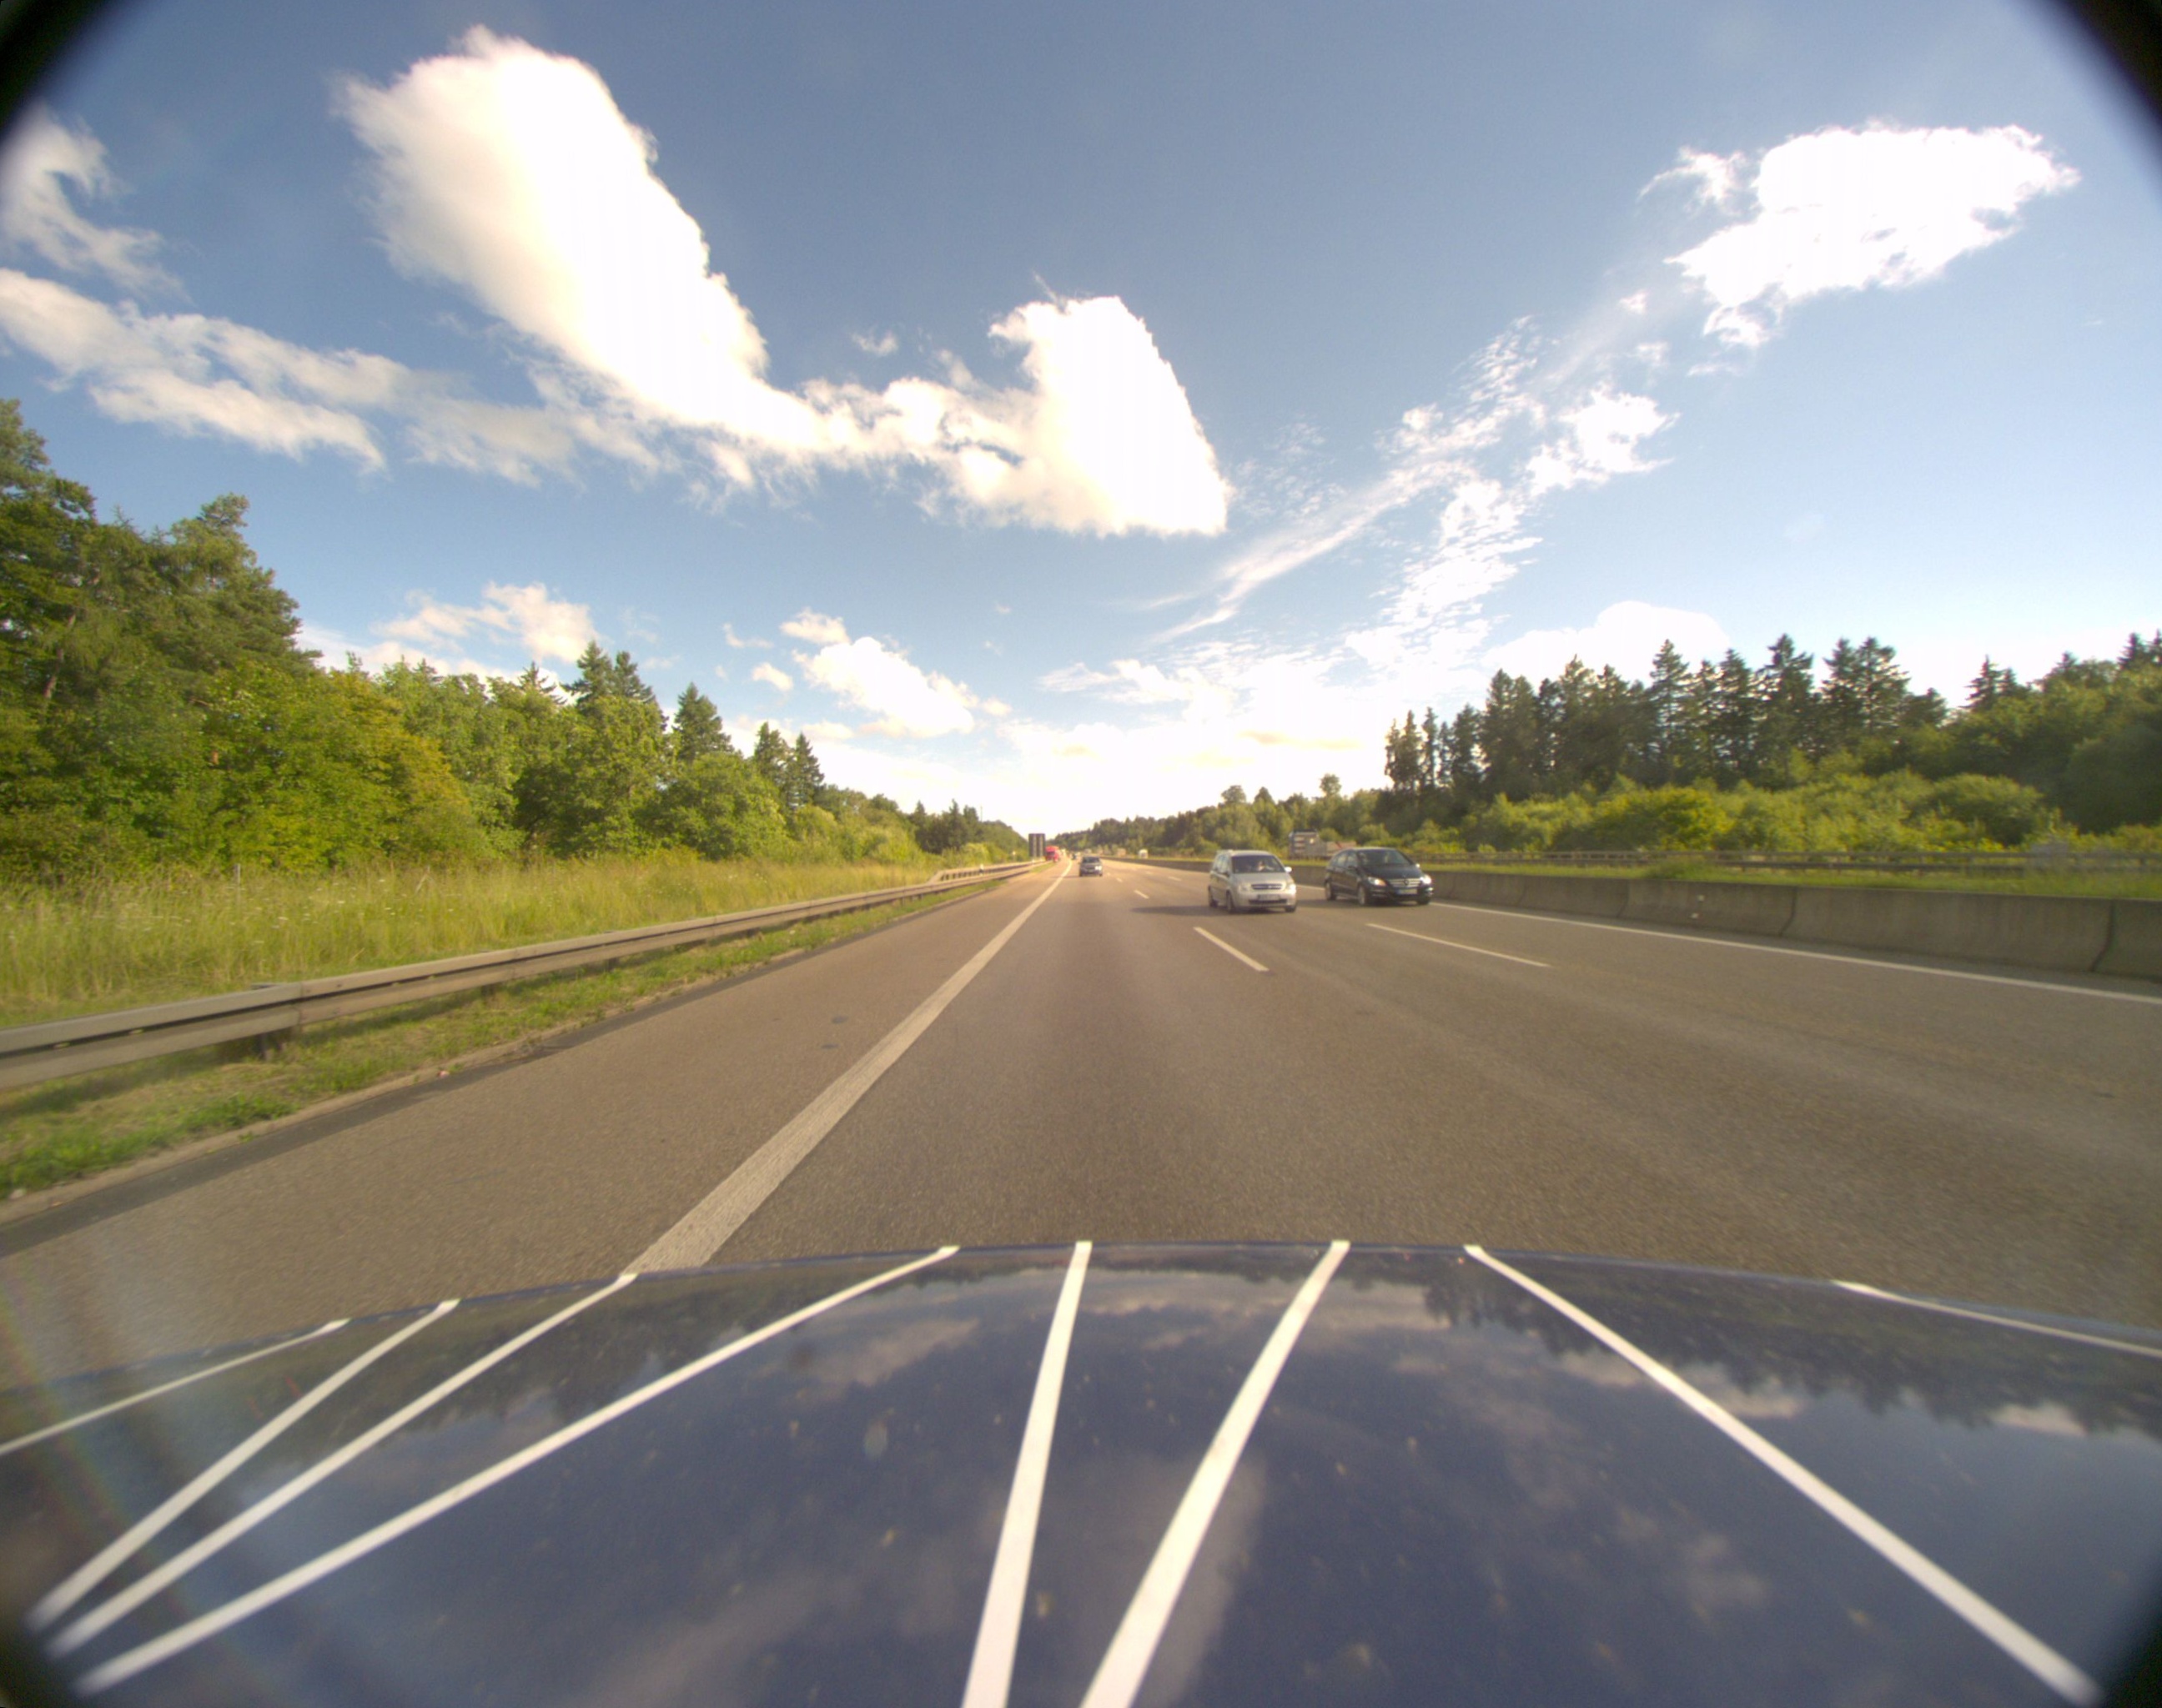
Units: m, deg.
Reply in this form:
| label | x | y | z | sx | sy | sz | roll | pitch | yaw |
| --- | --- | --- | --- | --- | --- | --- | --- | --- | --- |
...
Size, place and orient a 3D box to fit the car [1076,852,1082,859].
| label | x | y | z | sx | sy | sz | roll | pitch | yaw |
| --- | --- | --- | --- | --- | --- | --- | --- | --- | --- |
| car | -0.551 | 0.506 | 261.220 | 1.998 | 2.124 | 4.000 | -2 | 0 | 1 |

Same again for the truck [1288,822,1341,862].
| label | x | y | z | sx | sy | sz | roll | pitch | yaw |
| --- | --- | --- | --- | --- | --- | --- | --- | --- | --- |
| truck | 23.842 | -1.185 | 77.985 | 3.122 | 3.815 | 7.122 | -2 | 0 | 0 |

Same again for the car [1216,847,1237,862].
| label | x | y | z | sx | sy | sz | roll | pitch | yaw |
| --- | --- | --- | --- | --- | --- | --- | --- | --- | --- |
| car | 19.923 | 0.059 | 103.930 | 1.998 | 2.002 | 4.859 | -2 | 0 | 1 |

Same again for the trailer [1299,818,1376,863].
| label | x | y | z | sx | sy | sz | roll | pitch | yaw |
| --- | --- | --- | --- | --- | --- | --- | --- | --- | --- |
| trailer | 23.802 | -1.151 | 71.536 | 3.132 | 3.815 | 12.208 | -2 | 0 | 0 |

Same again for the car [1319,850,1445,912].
| label | x | y | z | sx | sy | sz | roll | pitch | yaw |
| --- | --- | --- | --- | --- | --- | --- | --- | --- | --- |
| car | 8.309 | 0.680 | 21.414 | 1.840 | 1.508 | 4.333 | -2 | 0 | 1 |

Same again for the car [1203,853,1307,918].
| label | x | y | z | sx | sy | sz | roll | pitch | yaw |
| --- | --- | --- | --- | --- | --- | --- | --- | --- | --- |
| car | 4.530 | 0.757 | 20.447 | 1.840 | 1.508 | 4.333 | -2 | 0 | 1 |

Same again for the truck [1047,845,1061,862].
| label | x | y | z | sx | sy | sz | roll | pitch | yaw |
| --- | --- | --- | --- | --- | --- | --- | --- | --- | --- |
| truck | -6.745 | -0.144 | 191.368 | 2.880 | 3.871 | 8.958 | -2 | 0 | 0 |

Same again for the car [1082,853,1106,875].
| label | x | y | z | sx | sy | sz | roll | pitch | yaw |
| --- | --- | --- | --- | --- | --- | --- | --- | --- | --- |
| car | 1.015 | 0.740 | 57.881 | 1.742 | 1.608 | 4.083 | -2 | 0 | 1 |

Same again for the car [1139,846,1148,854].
| label | x | y | z | sx | sy | sz | roll | pitch | yaw |
| --- | --- | --- | --- | --- | --- | --- | --- | --- | --- |
| car | 18.094 | -1.114 | 219.762 | 2.102 | 2.262 | 5.446 | -4 | 0 | 0 |
